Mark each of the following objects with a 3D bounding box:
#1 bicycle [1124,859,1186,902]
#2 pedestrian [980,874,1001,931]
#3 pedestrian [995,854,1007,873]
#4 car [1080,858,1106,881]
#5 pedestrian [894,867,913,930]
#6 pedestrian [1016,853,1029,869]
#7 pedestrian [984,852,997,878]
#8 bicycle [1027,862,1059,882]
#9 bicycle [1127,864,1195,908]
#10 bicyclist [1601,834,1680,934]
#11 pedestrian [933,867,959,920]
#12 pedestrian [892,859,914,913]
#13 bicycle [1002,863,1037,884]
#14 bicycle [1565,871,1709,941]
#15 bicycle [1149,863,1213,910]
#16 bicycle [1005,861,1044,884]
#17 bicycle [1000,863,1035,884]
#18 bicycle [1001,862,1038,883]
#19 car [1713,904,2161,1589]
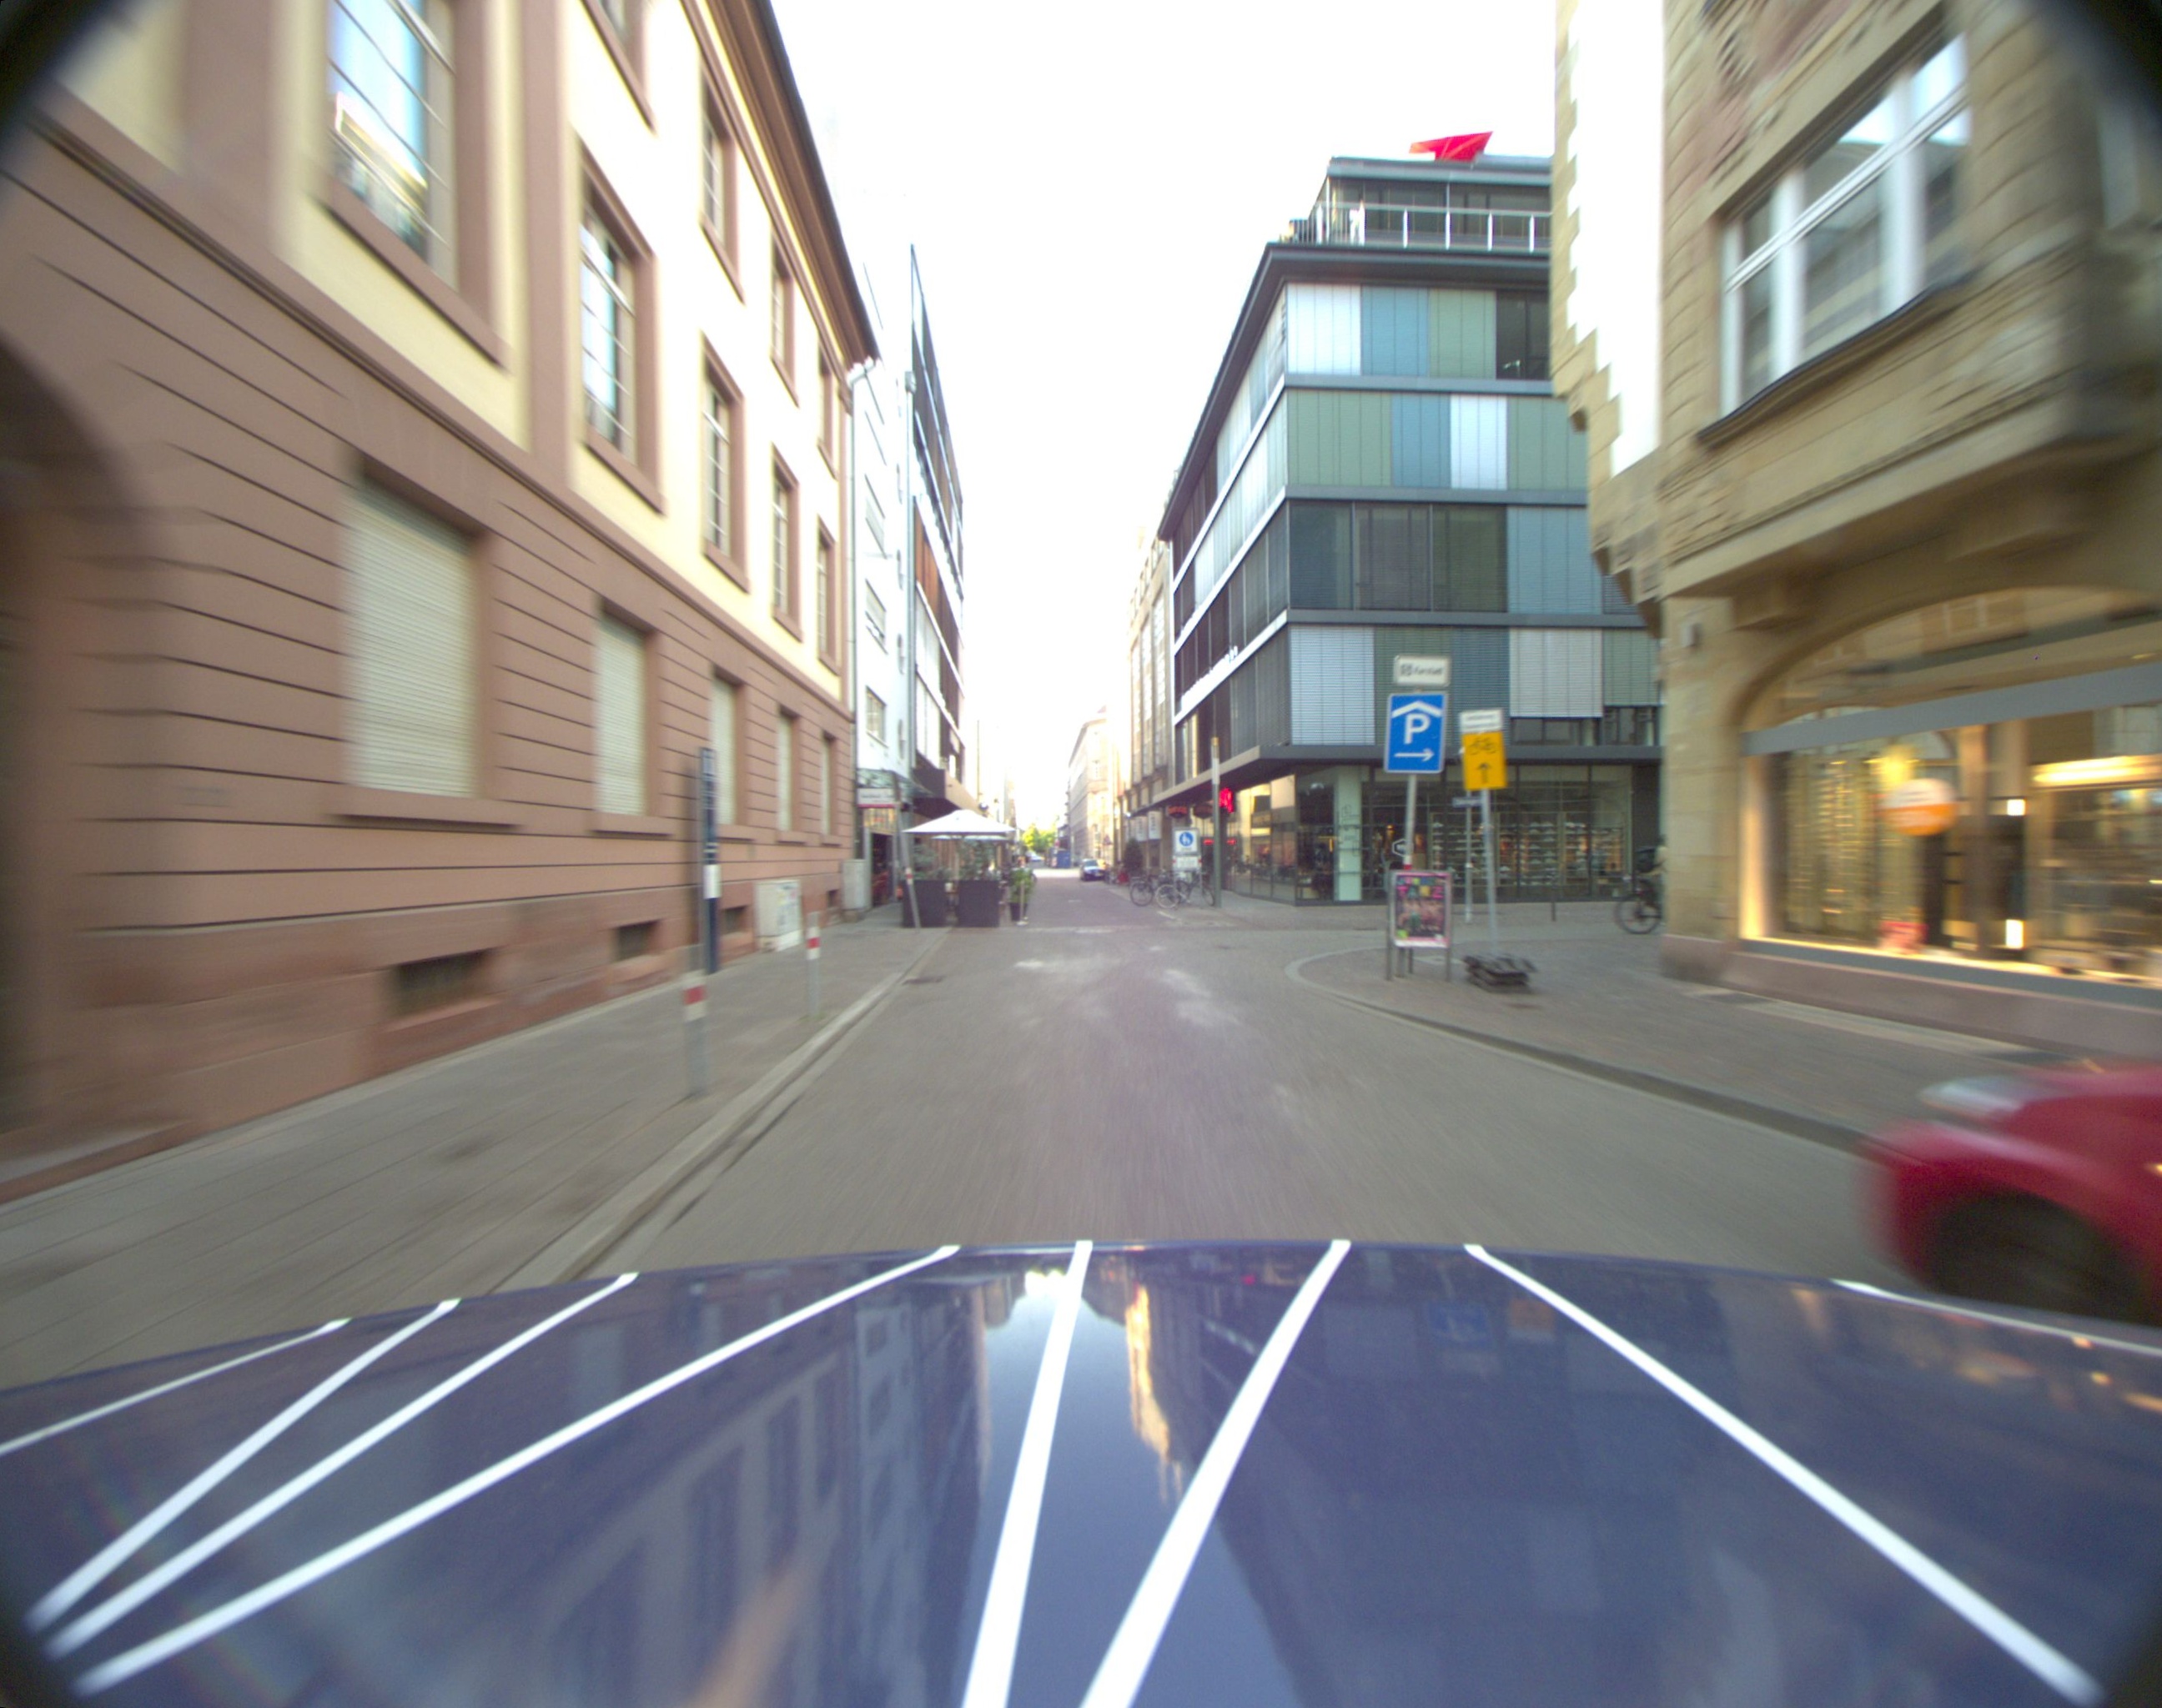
[{"bbox_3d":[2.464,0.875,25.372,1.903,1.262,0.538,-4,1,-3],"label":"bicycle"},{"bbox_3d":[-1.954,1.033,16.363,0.400,1.206,0.383,-1,1,-13],"label":"pedestrian"},{"bbox_3d":[-6.983,0.839,66.456,0.781,1.612,0.637,1,2,37],"label":"pedestrian"},{"bbox_3d":[0.785,0.994,49.126,1.603,1.414,3.604,-1,0,1],"label":"car"},{"bbox_3d":[-3.809,0.942,16.293,0.363,1.298,0.494,-1,1,-17],"label":"pedestrian"},{"bbox_3d":[-5.927,0.738,77.115,0.917,1.563,0.995,0,1,40],"label":"pedestrian"},{"bbox_3d":[-6.360,0.773,53.485,0.804,1.825,0.675,-1,1,-2],"label":"pedestrian"},{"bbox_3d":[-2.411,1.129,48.115,2.039,1.209,0.618,-1,1,-5],"label":"bicycle"},{"bbox_3d":[2.364,0.950,22.571,1.903,1.174,0.517,-3,-1,-5],"label":"bicycle"},{"bbox_3d":[9.626,0.504,13.097,0.869,1.660,0.676,-1,1,-2],"label":"bicyclist"},{"bbox_3d":[-3.720,1.070,20.986,0.575,1.412,0.868,-1,1,-2],"label":"pedestrian"},{"bbox_3d":[-5.907,1.044,25.179,0.640,1.762,0.601,-1,1,-9],"label":"pedestrian"},{"bbox_3d":[-3.685,1.155,45.296,2.039,1.161,0.618,-1,1,-5],"label":"bicycle"},{"bbox_3d":[9.554,0.883,13.100,2.003,1.121,0.700,-1,0,-2],"label":"bicycle"},{"bbox_3d":[2.781,0.898,21.190,1.670,1.197,0.509,-2,1,-4],"label":"bicycle"},{"bbox_3d":[-3.079,1.030,41.497,2.039,1.161,0.665,2,0,-5],"label":"bicycle"},{"bbox_3d":[-3.689,1.135,44.192,2.039,1.161,0.618,-1,1,-5],"label":"bicycle"},{"bbox_3d":[-3.484,1.047,43.122,2.039,1.161,0.618,-1,1,-4],"label":"bicycle"},{"bbox_3d":[3.314,0.947,0.937,1.662,1.461,3.930,0,1,-3],"label":"car"}]
